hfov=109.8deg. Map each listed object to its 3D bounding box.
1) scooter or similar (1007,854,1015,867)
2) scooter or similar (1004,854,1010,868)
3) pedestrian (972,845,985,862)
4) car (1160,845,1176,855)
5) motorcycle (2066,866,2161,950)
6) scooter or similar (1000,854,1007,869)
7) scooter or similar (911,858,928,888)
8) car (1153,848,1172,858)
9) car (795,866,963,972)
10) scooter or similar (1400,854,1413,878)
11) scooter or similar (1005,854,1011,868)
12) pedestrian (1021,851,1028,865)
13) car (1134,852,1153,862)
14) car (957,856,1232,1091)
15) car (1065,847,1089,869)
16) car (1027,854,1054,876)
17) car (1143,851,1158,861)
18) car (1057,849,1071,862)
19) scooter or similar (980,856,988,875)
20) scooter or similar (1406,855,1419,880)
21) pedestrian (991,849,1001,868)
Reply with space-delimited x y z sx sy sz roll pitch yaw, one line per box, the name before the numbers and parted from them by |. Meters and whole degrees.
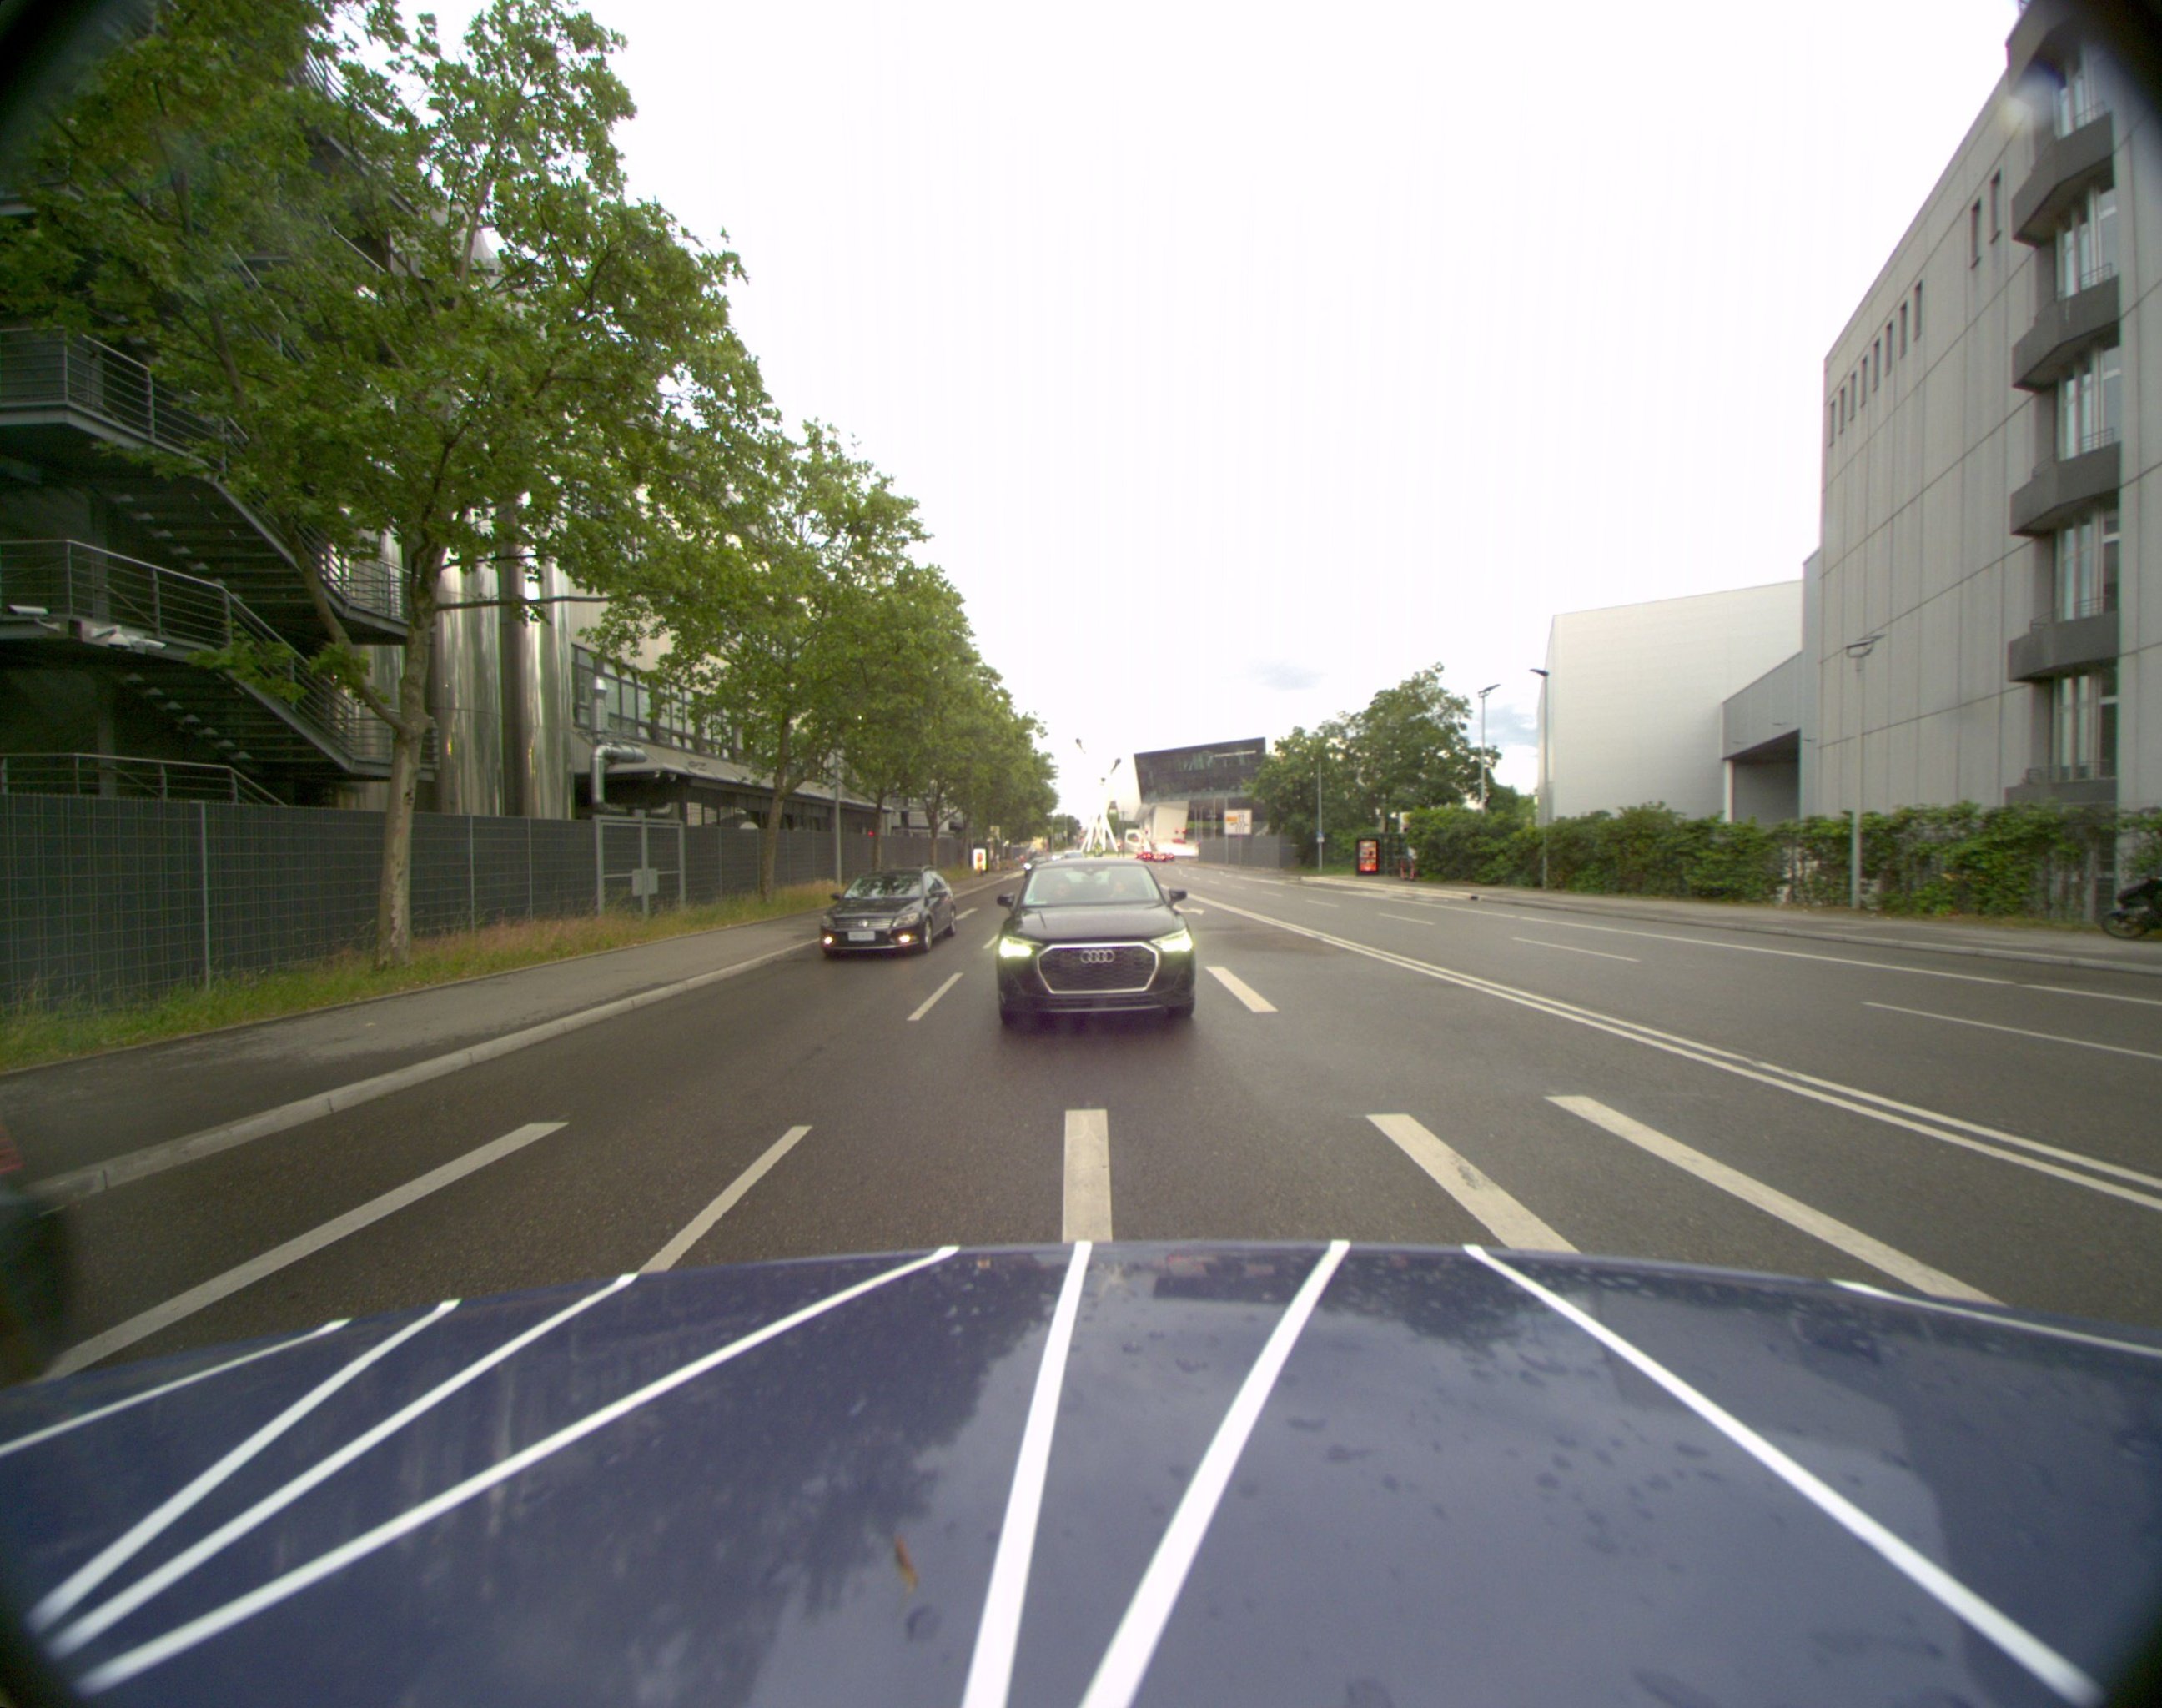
scooter or similar | -6.965 0.666 75.633 0.437 1.288 1.367 -1 1 7
scooter or similar | -6.969 0.696 71.539 0.437 1.288 1.300 -1 1 3
pedestrian | -8.608 -0.034 63.940 0.933 1.408 0.698 -1 1 -1
car | 14.675 -0.605 127.501 1.862 1.641 3.792 0 0 19
motorcycle | 16.705 0.824 11.499 0.786 1.243 2.157 -1 1 0
scooter or similar | -7.137 0.683 70.153 0.437 1.288 1.300 -1 1 3
scooter or similar | -6.896 0.811 32.472 0.329 1.262 1.109 -1 1 9
car | 12.938 -0.158 120.888 2.267 1.469 4.052 0 1 18
car | -3.420 1.023 13.864 1.842 1.444 4.785 -2 0 -1
scooter or similar | 16.455 0.606 38.449 0.389 1.173 1.251 0 1 13
scooter or similar | -7.069 0.683 73.667 0.437 1.288 1.300 -1 1 3
pedestrian | -6.604 0.455 89.520 0.723 1.610 0.833 1 2 -1
car | 10.087 0.476 122.615 2.255 1.469 3.884 0 1 18
car | 0.043 0.878 8.187 1.951 1.609 5.276 -2 0 -1
car | -0.373 0.325 65.978 1.951 1.879 4.490 0 0 -1
car | -3.000 0.781 57.112 1.951 1.610 4.072 0 0 -1
car | 11.794 0.346 128.517 1.878 1.641 3.857 0 0 16
car | -2.487 0.202 112.326 1.951 1.767 4.490 0 0 -1
scooter or similar | -6.994 0.824 54.914 0.329 1.301 1.246 -1 1 4
scooter or similar | 16.176 0.628 37.099 0.379 1.174 1.379 0 1 13
pedestrian | -7.560 0.415 67.855 0.778 1.700 0.729 -1 1 -1
